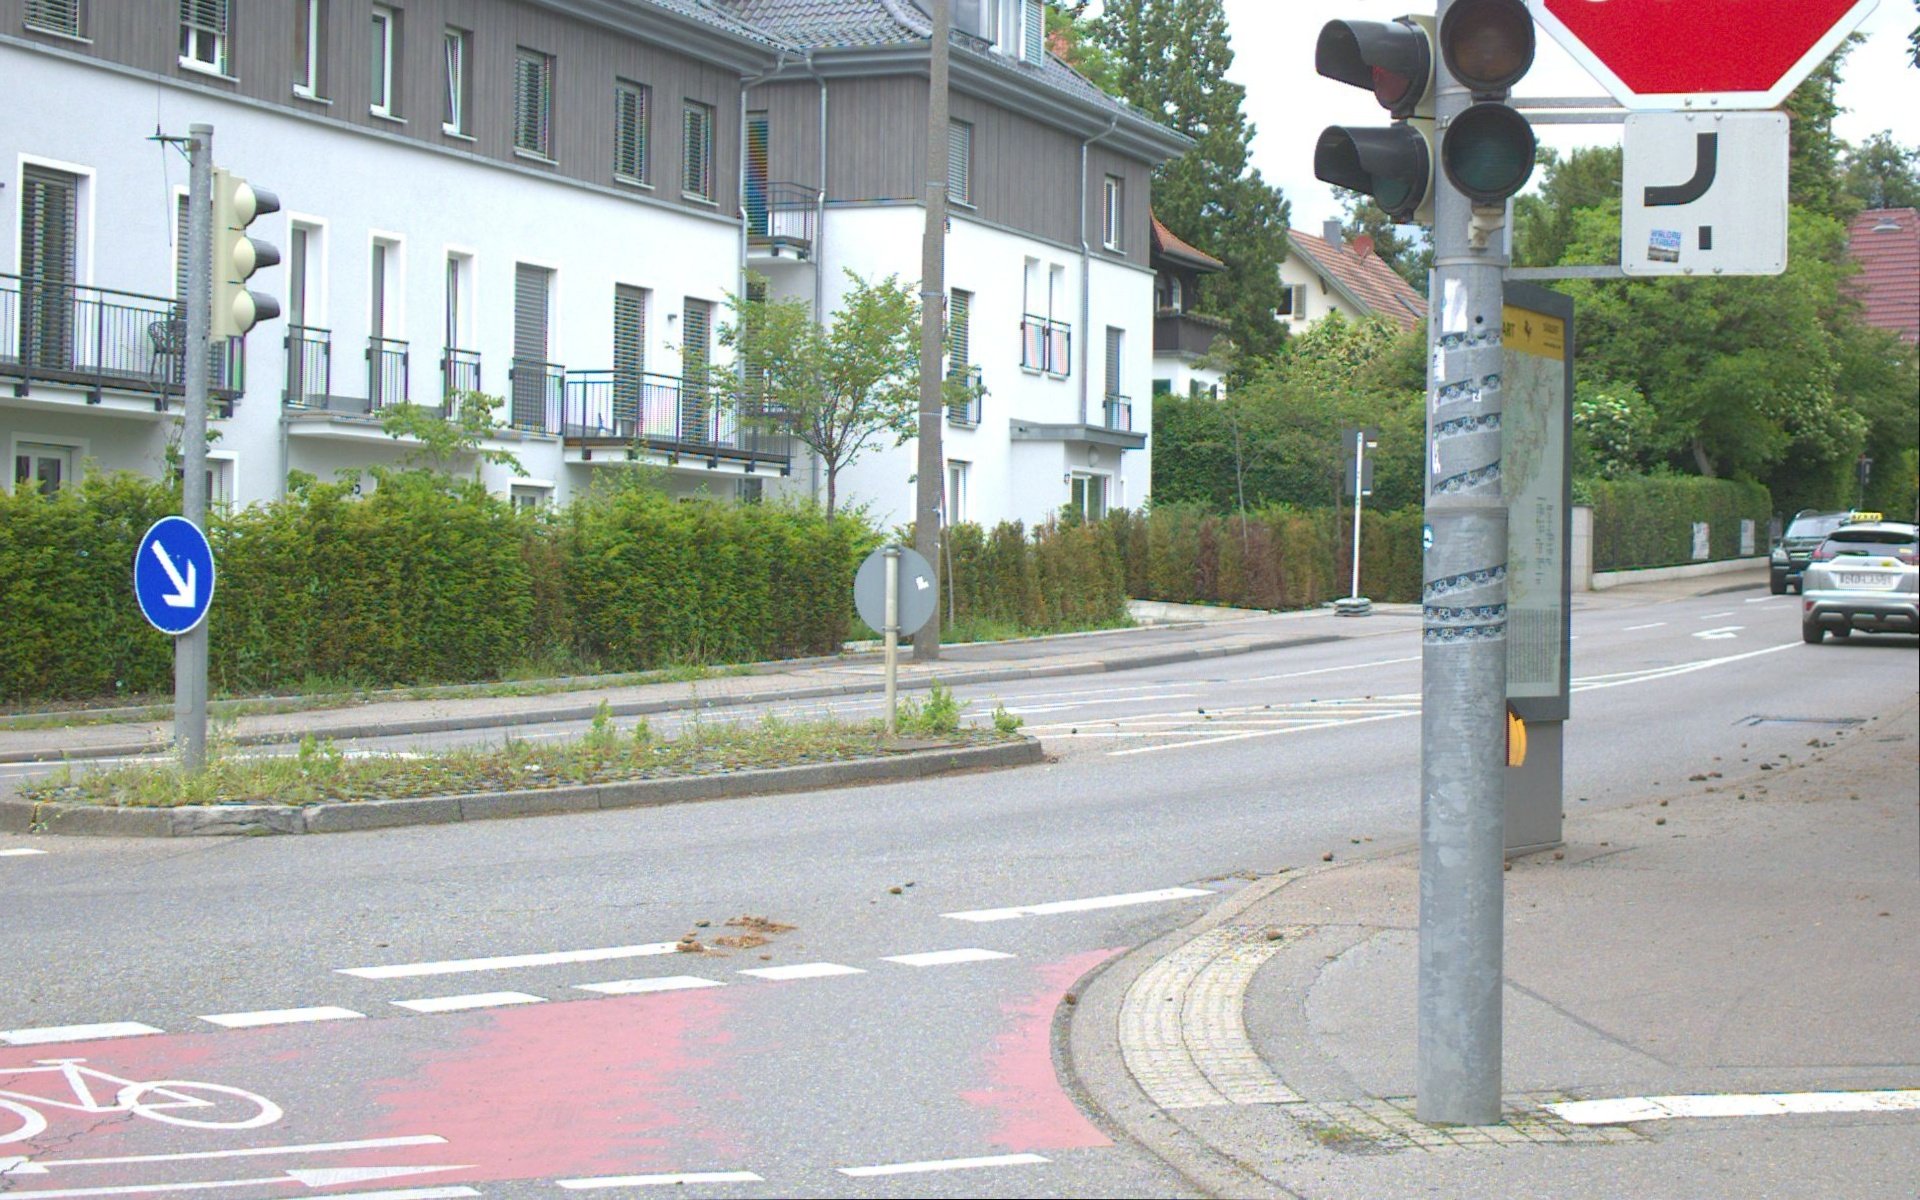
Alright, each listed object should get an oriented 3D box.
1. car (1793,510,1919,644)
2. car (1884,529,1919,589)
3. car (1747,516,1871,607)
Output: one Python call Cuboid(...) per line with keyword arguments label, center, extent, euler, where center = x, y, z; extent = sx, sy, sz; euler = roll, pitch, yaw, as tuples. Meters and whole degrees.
Cuboid(label="car", center=(12.710, -0.342, 47.084), extent=(1.809, 1.747, 4.482), euler=(0, 1, 23))
Cuboid(label="car", center=(23.677, -1.005, 83.203), extent=(1.941, 1.399, 4.737), euler=(1, 2, 22))
Cuboid(label="car", center=(18.400, -0.827, 74.391), extent=(1.914, 1.874, 5.136), euler=(-1, 0, 22))
